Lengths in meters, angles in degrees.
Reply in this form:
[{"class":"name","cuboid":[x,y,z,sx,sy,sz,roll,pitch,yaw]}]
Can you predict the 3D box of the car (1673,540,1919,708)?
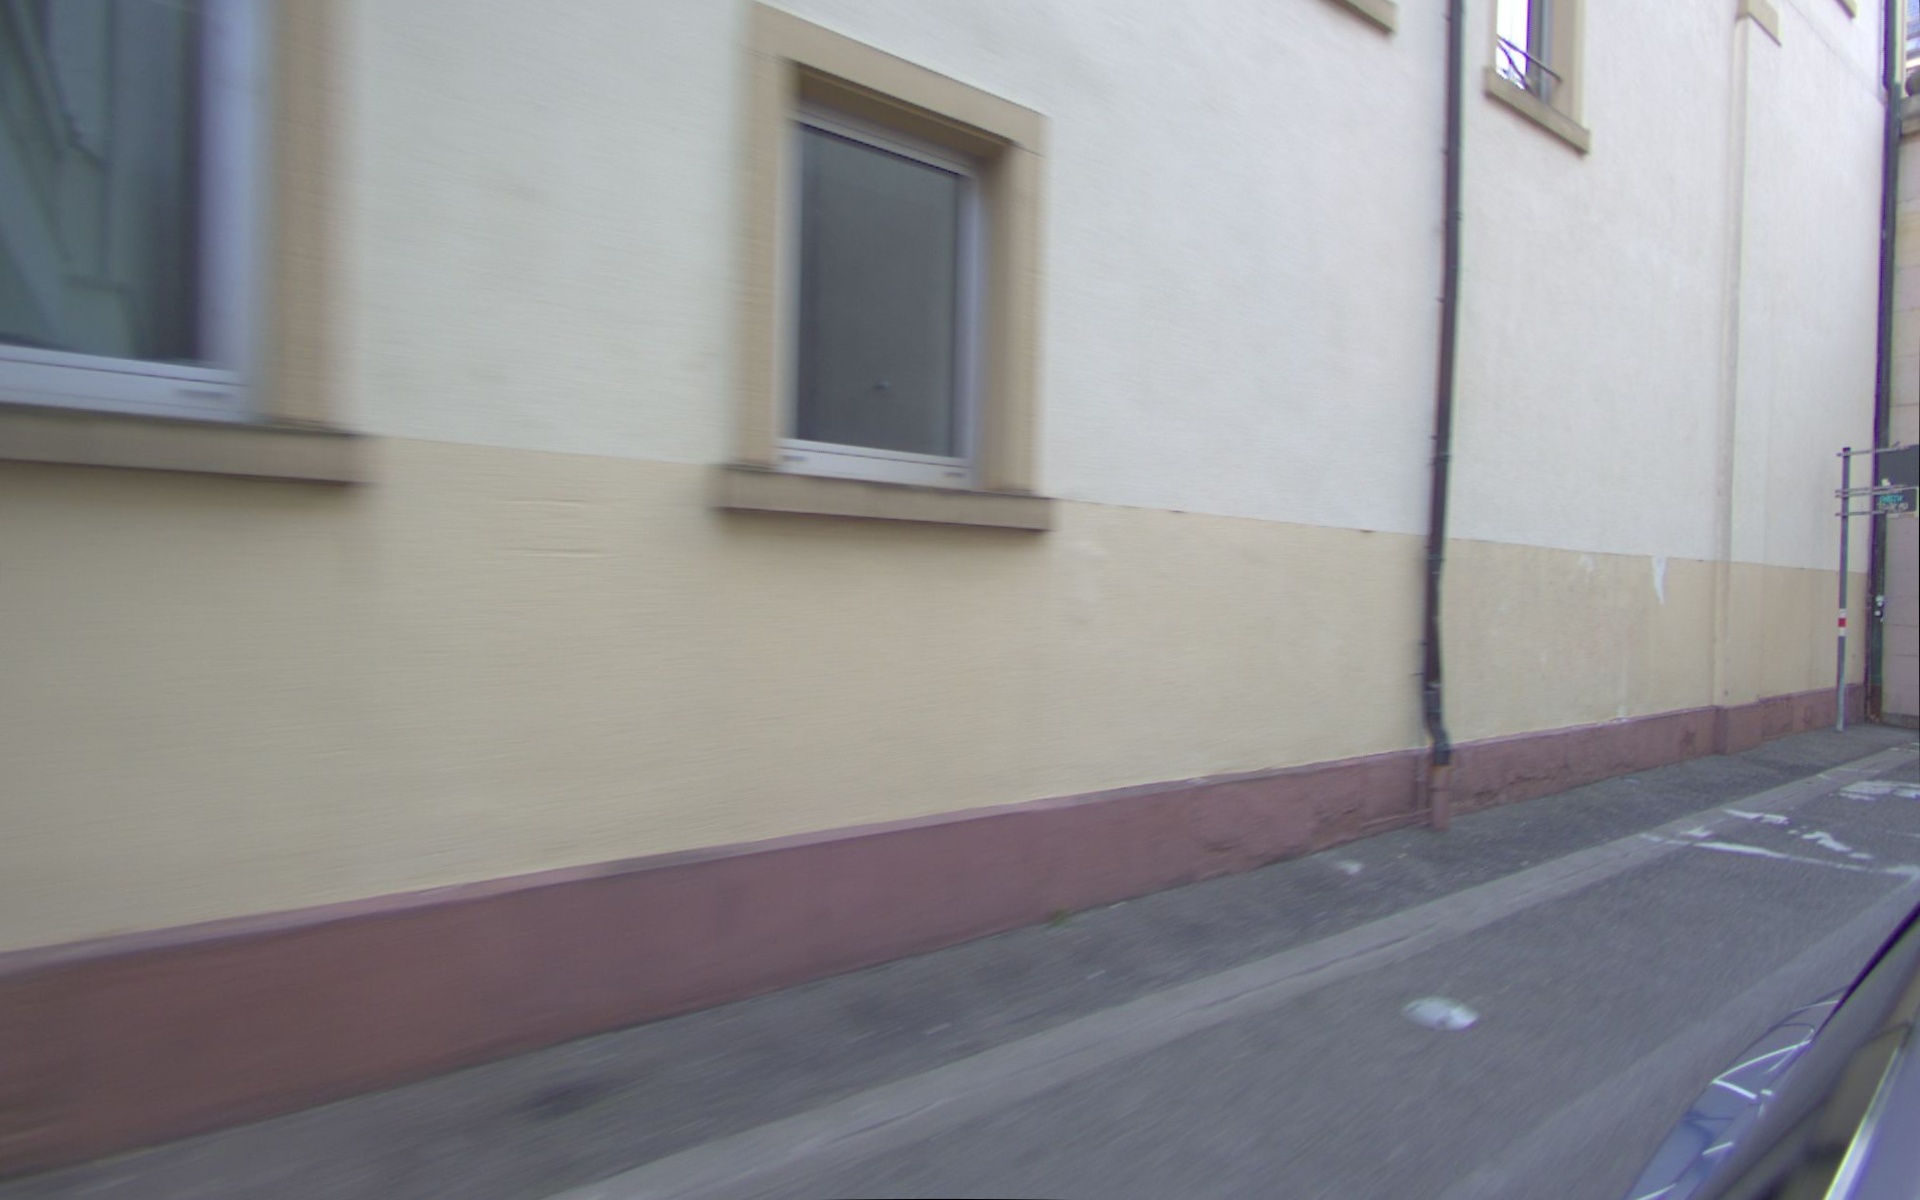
[{"class":"car","cuboid":[15.288,0.339,15.841,1.968,2.543,6.460,-2,3,-41]}]
